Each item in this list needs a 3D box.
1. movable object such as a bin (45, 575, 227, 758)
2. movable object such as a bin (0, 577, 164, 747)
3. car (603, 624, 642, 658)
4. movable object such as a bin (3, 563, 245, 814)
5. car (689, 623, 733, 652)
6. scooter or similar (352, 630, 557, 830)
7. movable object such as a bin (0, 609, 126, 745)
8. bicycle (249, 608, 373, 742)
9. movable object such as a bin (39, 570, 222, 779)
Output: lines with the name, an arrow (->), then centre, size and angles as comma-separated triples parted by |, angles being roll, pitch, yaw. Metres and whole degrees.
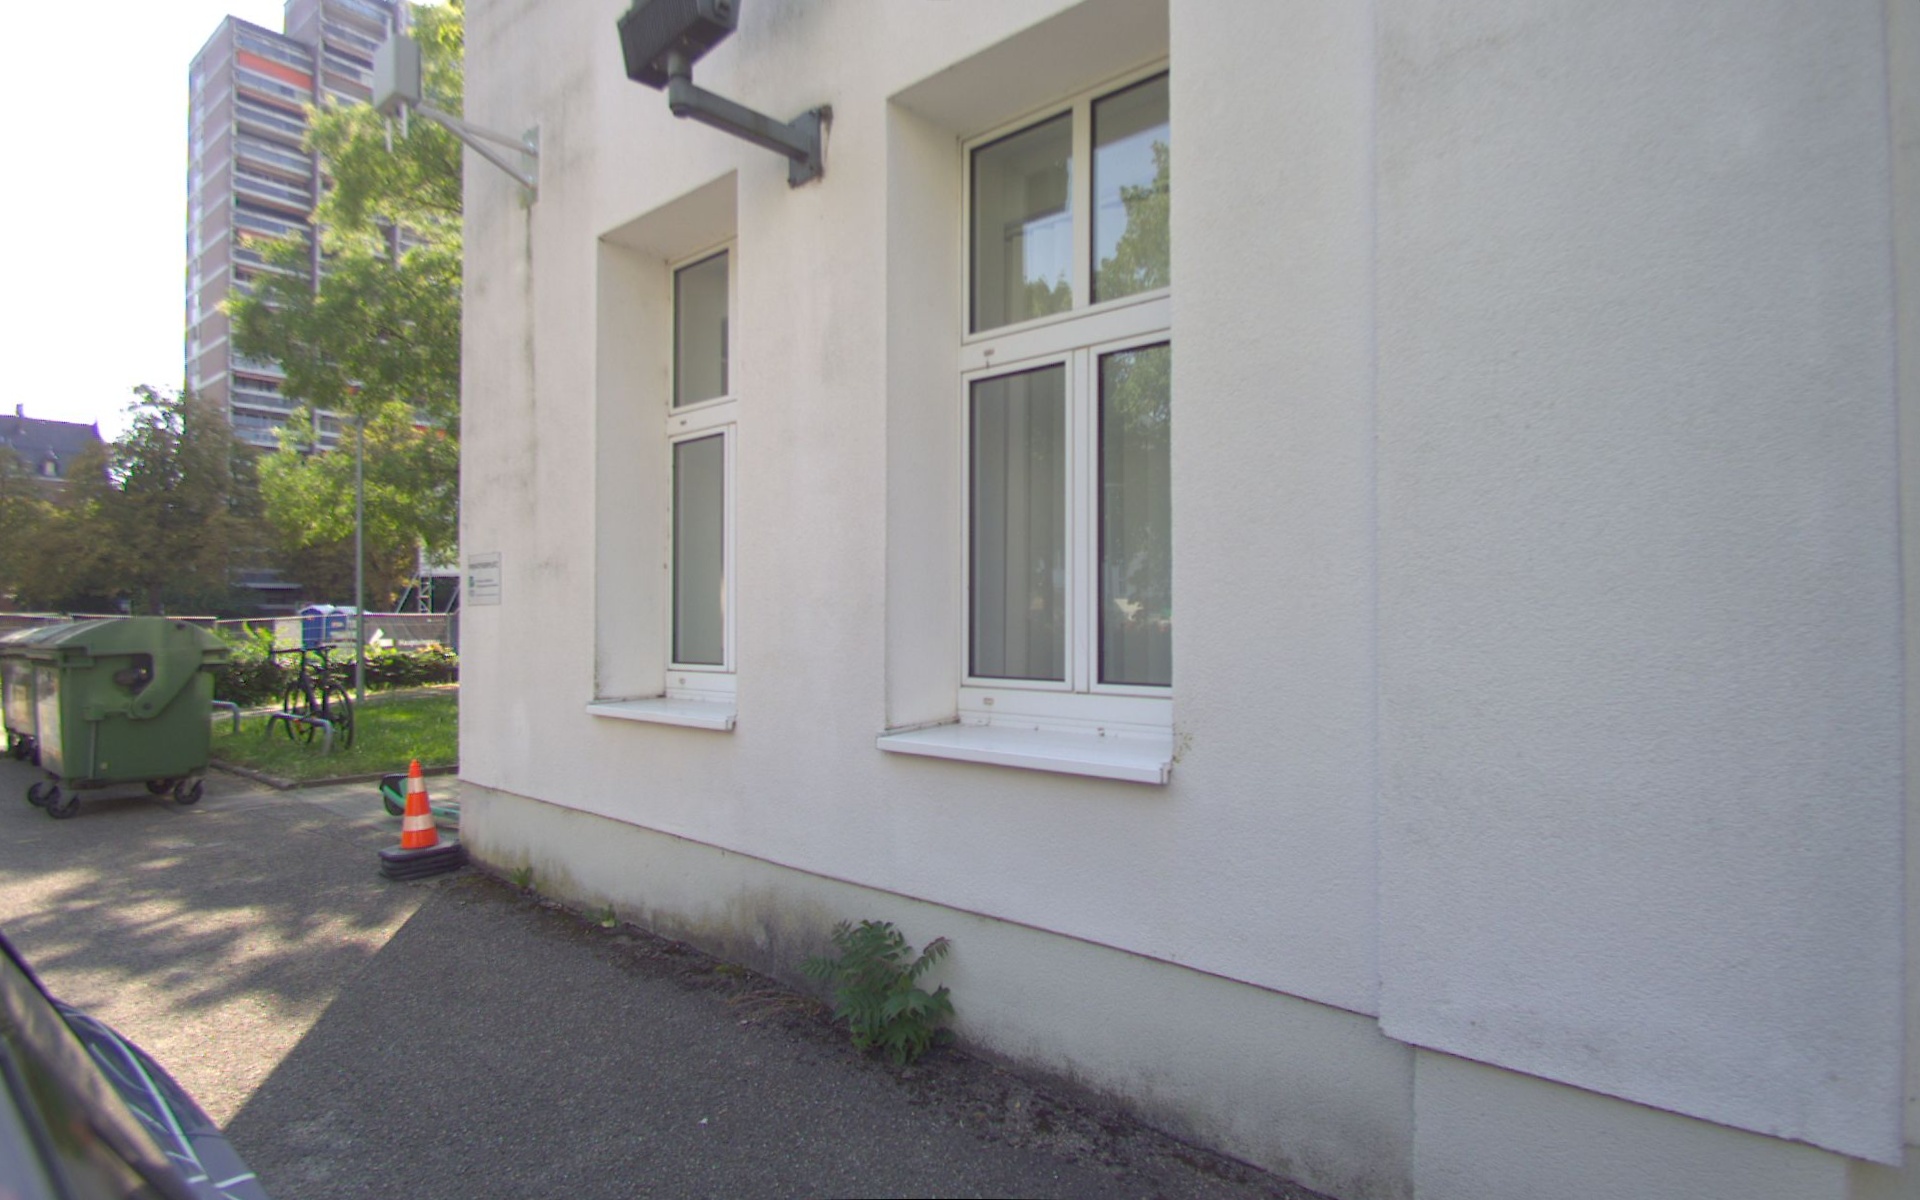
movable object such as a bin -> -8.464, 0.627, 10.397 | 1.375, 1.718, 1.169 | 0, -1, 37
movable object such as a bin -> -9.682, 0.633, 11.125 | 1.375, 1.718, 1.169 | 0, -1, 37
car -> -19.889, 2.362, 59.559 | 1.833, 1.918, 4.013 | 0, -1, -24
movable object such as a bin -> -6.453, 0.611, 7.820 | 1.375, 1.718, 1.169 | 0, -1, 37
car -> -14.505, 2.152, 58.828 | 1.833, 1.555, 4.013 | 0, -1, -24
scooter or similar -> -3.516, 0.856, 7.019 | 1.485, 1.272, 0.383 | 0, 0, 22
movable object such as a bin -> -10.762, 0.861, 12.009 | 1.103, 1.509, 1.026 | 0, 0, 30
bicycle -> -6.500, 0.693, 10.090 | 2.007, 1.222, 0.471 | 0, -1, 40
movable object such as a bin -> -7.594, 0.620, 9.252 | 1.167, 1.718, 1.396 | 0, -1, -45
